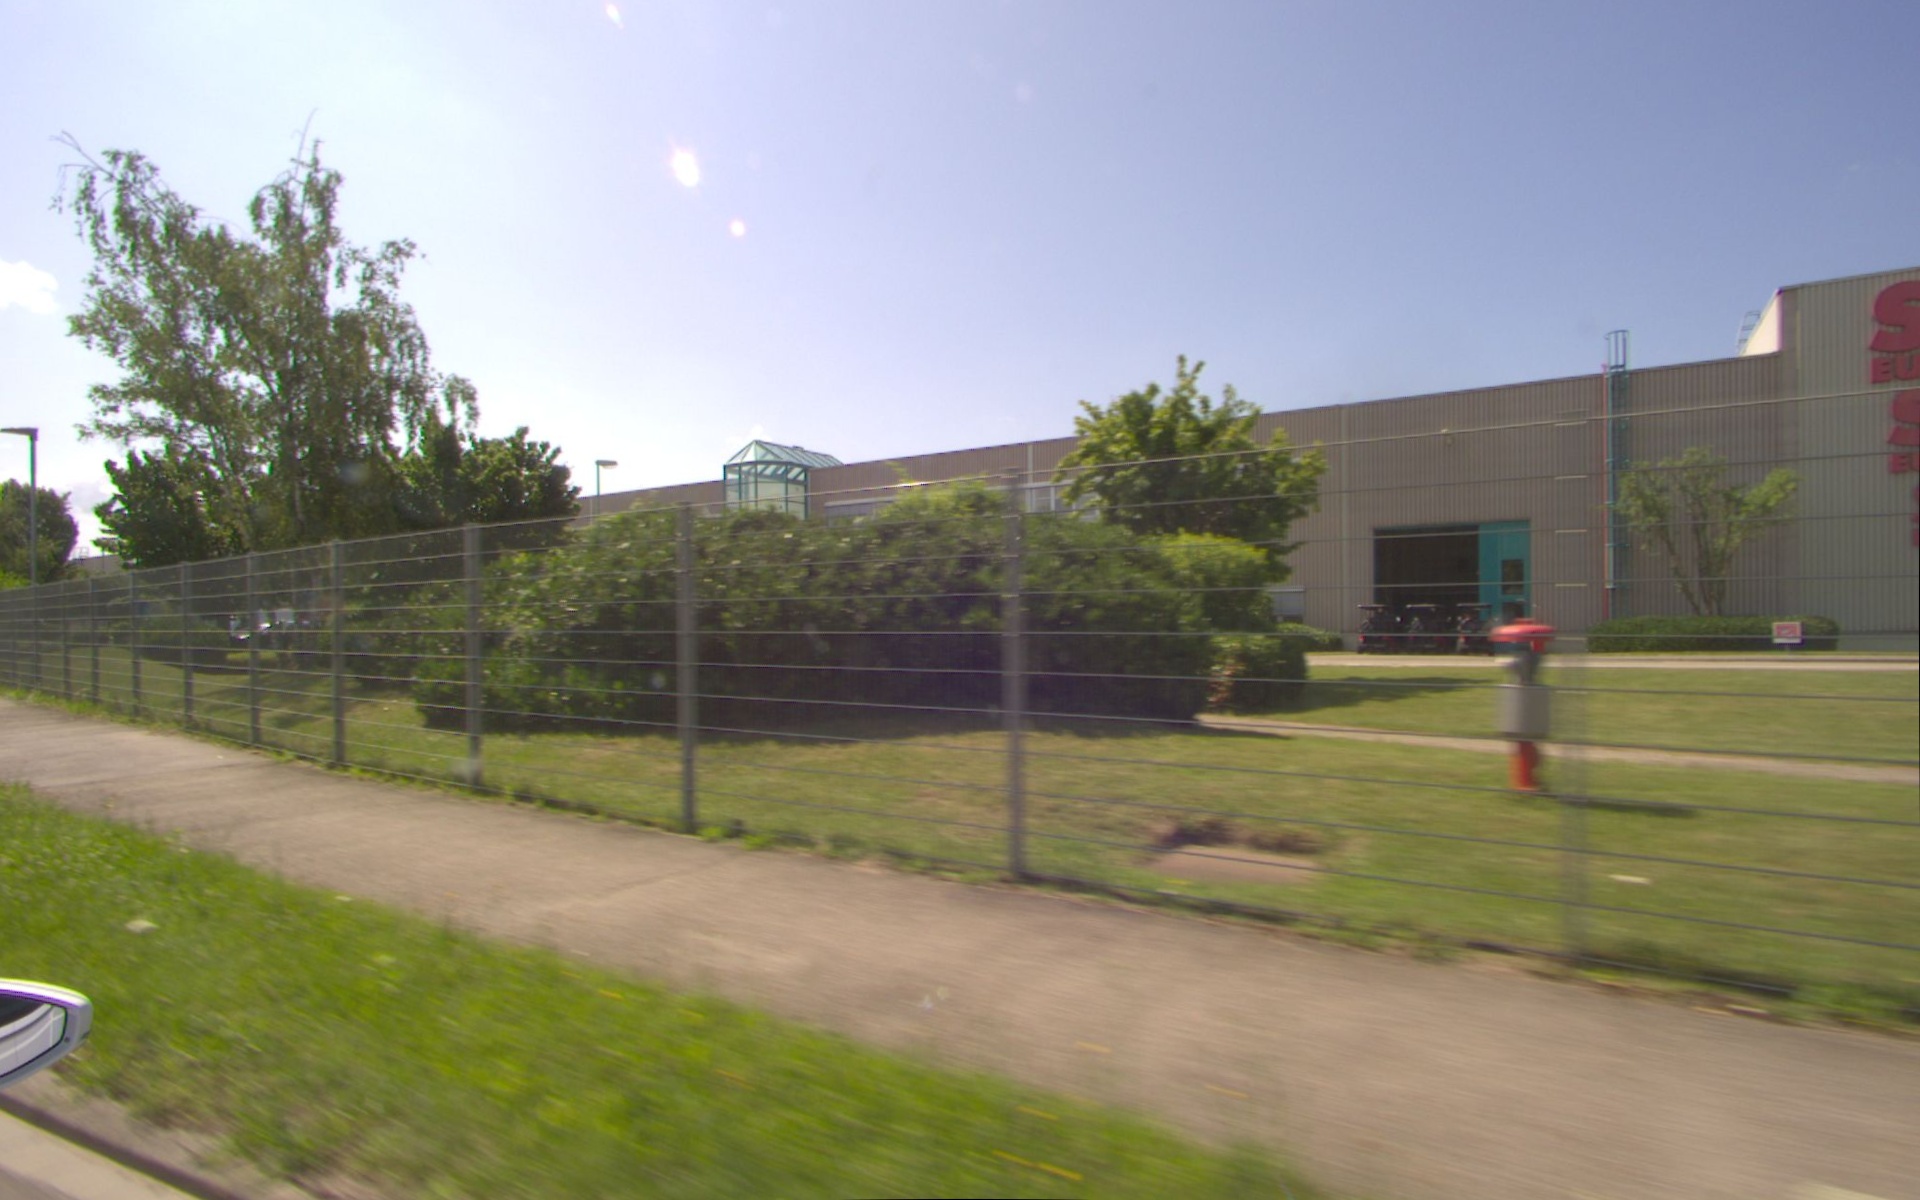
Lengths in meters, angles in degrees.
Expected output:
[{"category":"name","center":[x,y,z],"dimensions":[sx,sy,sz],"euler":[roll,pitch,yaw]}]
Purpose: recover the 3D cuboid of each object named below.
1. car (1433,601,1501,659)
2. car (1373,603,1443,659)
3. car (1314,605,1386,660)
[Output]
[{"category":"car","center":[18.965,1.087,37.387],"dimensions":[1.943,2.040,4.152],"euler":[-1,-1,31]},{"category":"car","center":[17.232,1.172,38.446],"dimensions":[1.943,2.040,4.152],"euler":[-1,-1,31]},{"category":"car","center":[15.463,1.263,39.590],"dimensions":[1.943,2.040,4.152],"euler":[-1,-1,31]}]
